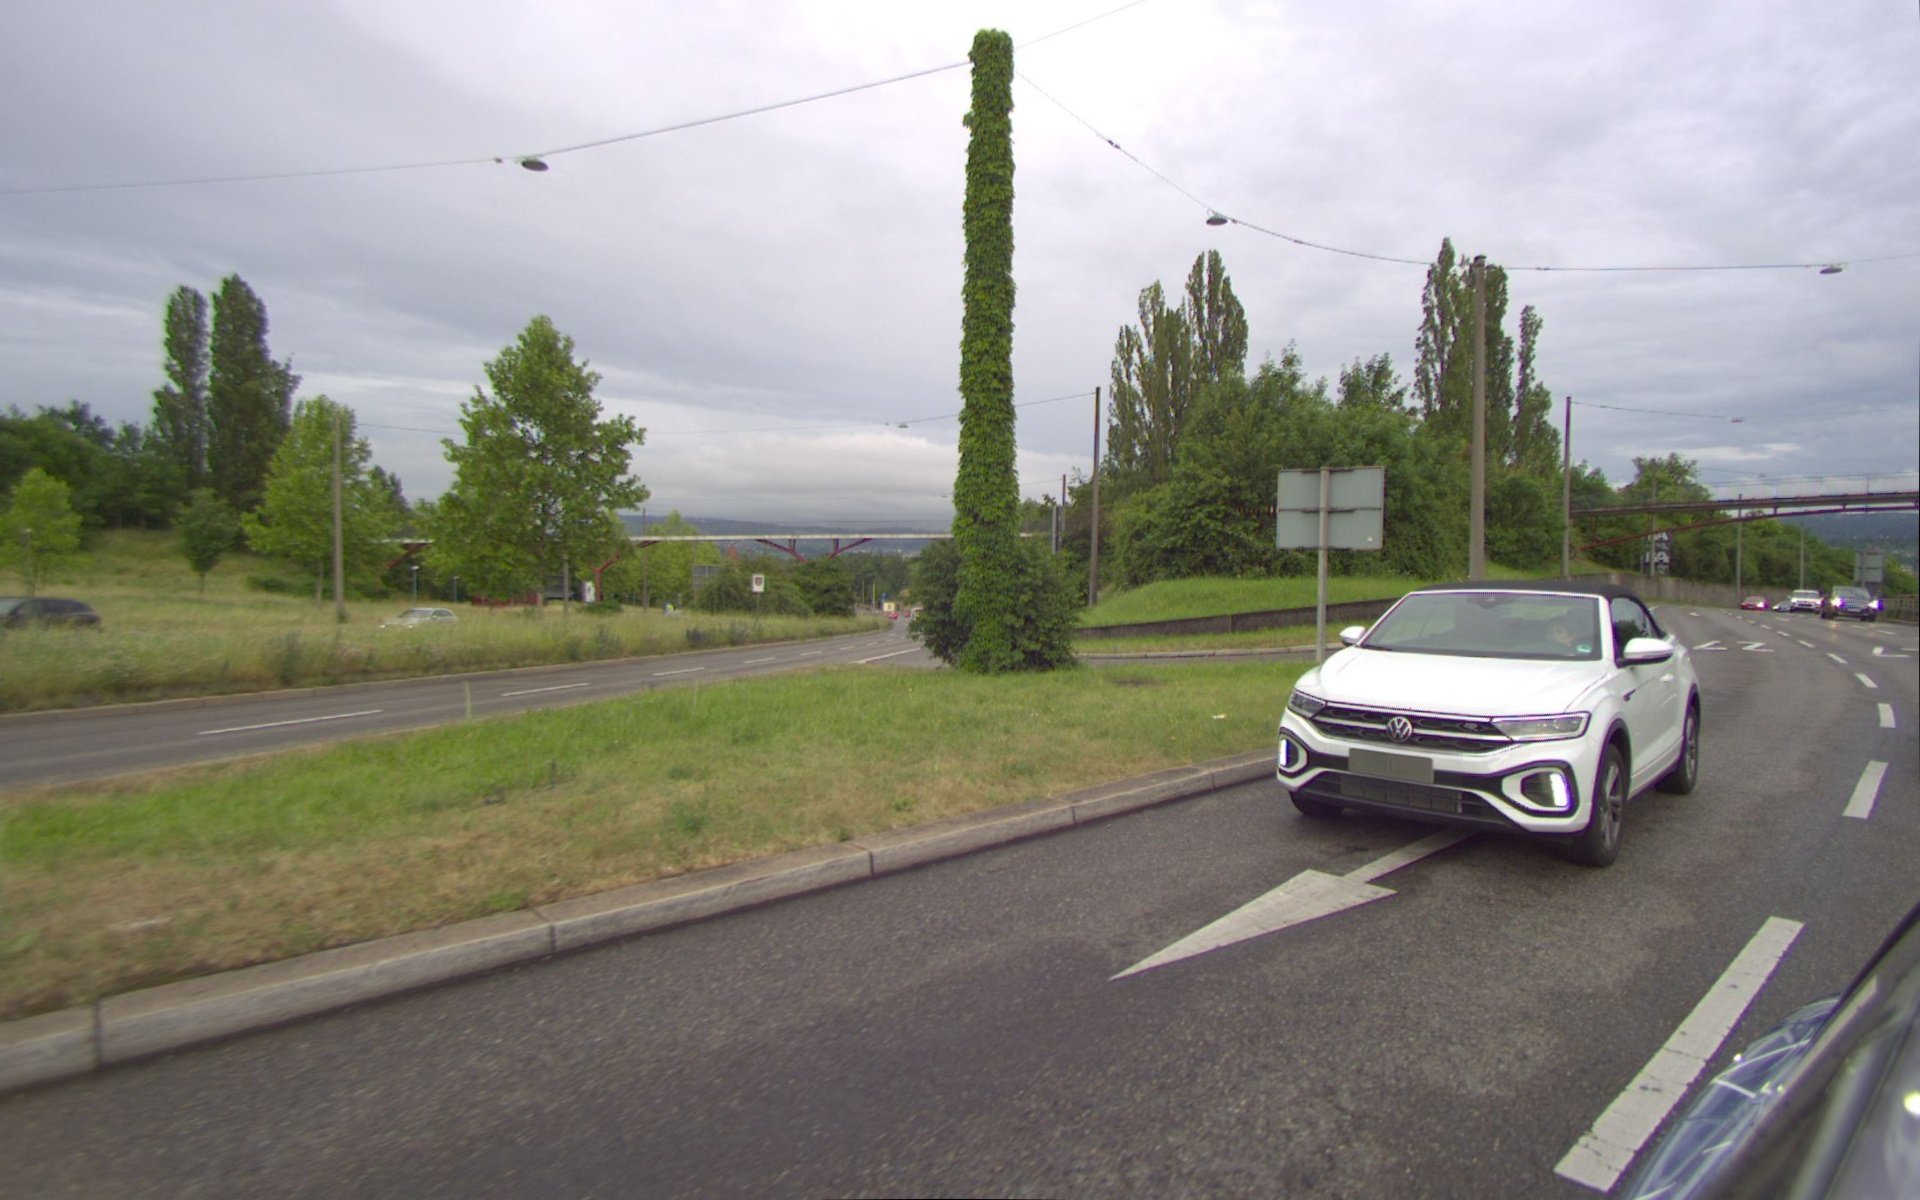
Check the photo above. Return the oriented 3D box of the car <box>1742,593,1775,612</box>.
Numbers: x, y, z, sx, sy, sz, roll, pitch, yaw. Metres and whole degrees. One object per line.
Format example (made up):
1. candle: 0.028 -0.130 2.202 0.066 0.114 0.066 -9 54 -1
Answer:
1. car: 73.565 0.189 93.213 1.993 1.683 3.937 -2 -1 43

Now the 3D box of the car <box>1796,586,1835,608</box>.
1. car: 63.942 -0.207 75.705 1.932 1.496 3.946 -2 -1 37

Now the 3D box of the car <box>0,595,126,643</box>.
1. car: -28.753 0.602 31.933 1.570 1.428 3.959 -1 -1 1

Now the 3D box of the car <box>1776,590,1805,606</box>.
1. car: 86.915 -0.200 105.897 1.993 1.683 3.937 -2 -1 43

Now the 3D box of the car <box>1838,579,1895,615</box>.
1. car: 44.633 -0.129 49.895 1.904 1.699 3.942 -2 -1 40

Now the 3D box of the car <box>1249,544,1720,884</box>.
1. car: 3.721 0.455 6.774 1.713 1.572 4.163 1 2 44
